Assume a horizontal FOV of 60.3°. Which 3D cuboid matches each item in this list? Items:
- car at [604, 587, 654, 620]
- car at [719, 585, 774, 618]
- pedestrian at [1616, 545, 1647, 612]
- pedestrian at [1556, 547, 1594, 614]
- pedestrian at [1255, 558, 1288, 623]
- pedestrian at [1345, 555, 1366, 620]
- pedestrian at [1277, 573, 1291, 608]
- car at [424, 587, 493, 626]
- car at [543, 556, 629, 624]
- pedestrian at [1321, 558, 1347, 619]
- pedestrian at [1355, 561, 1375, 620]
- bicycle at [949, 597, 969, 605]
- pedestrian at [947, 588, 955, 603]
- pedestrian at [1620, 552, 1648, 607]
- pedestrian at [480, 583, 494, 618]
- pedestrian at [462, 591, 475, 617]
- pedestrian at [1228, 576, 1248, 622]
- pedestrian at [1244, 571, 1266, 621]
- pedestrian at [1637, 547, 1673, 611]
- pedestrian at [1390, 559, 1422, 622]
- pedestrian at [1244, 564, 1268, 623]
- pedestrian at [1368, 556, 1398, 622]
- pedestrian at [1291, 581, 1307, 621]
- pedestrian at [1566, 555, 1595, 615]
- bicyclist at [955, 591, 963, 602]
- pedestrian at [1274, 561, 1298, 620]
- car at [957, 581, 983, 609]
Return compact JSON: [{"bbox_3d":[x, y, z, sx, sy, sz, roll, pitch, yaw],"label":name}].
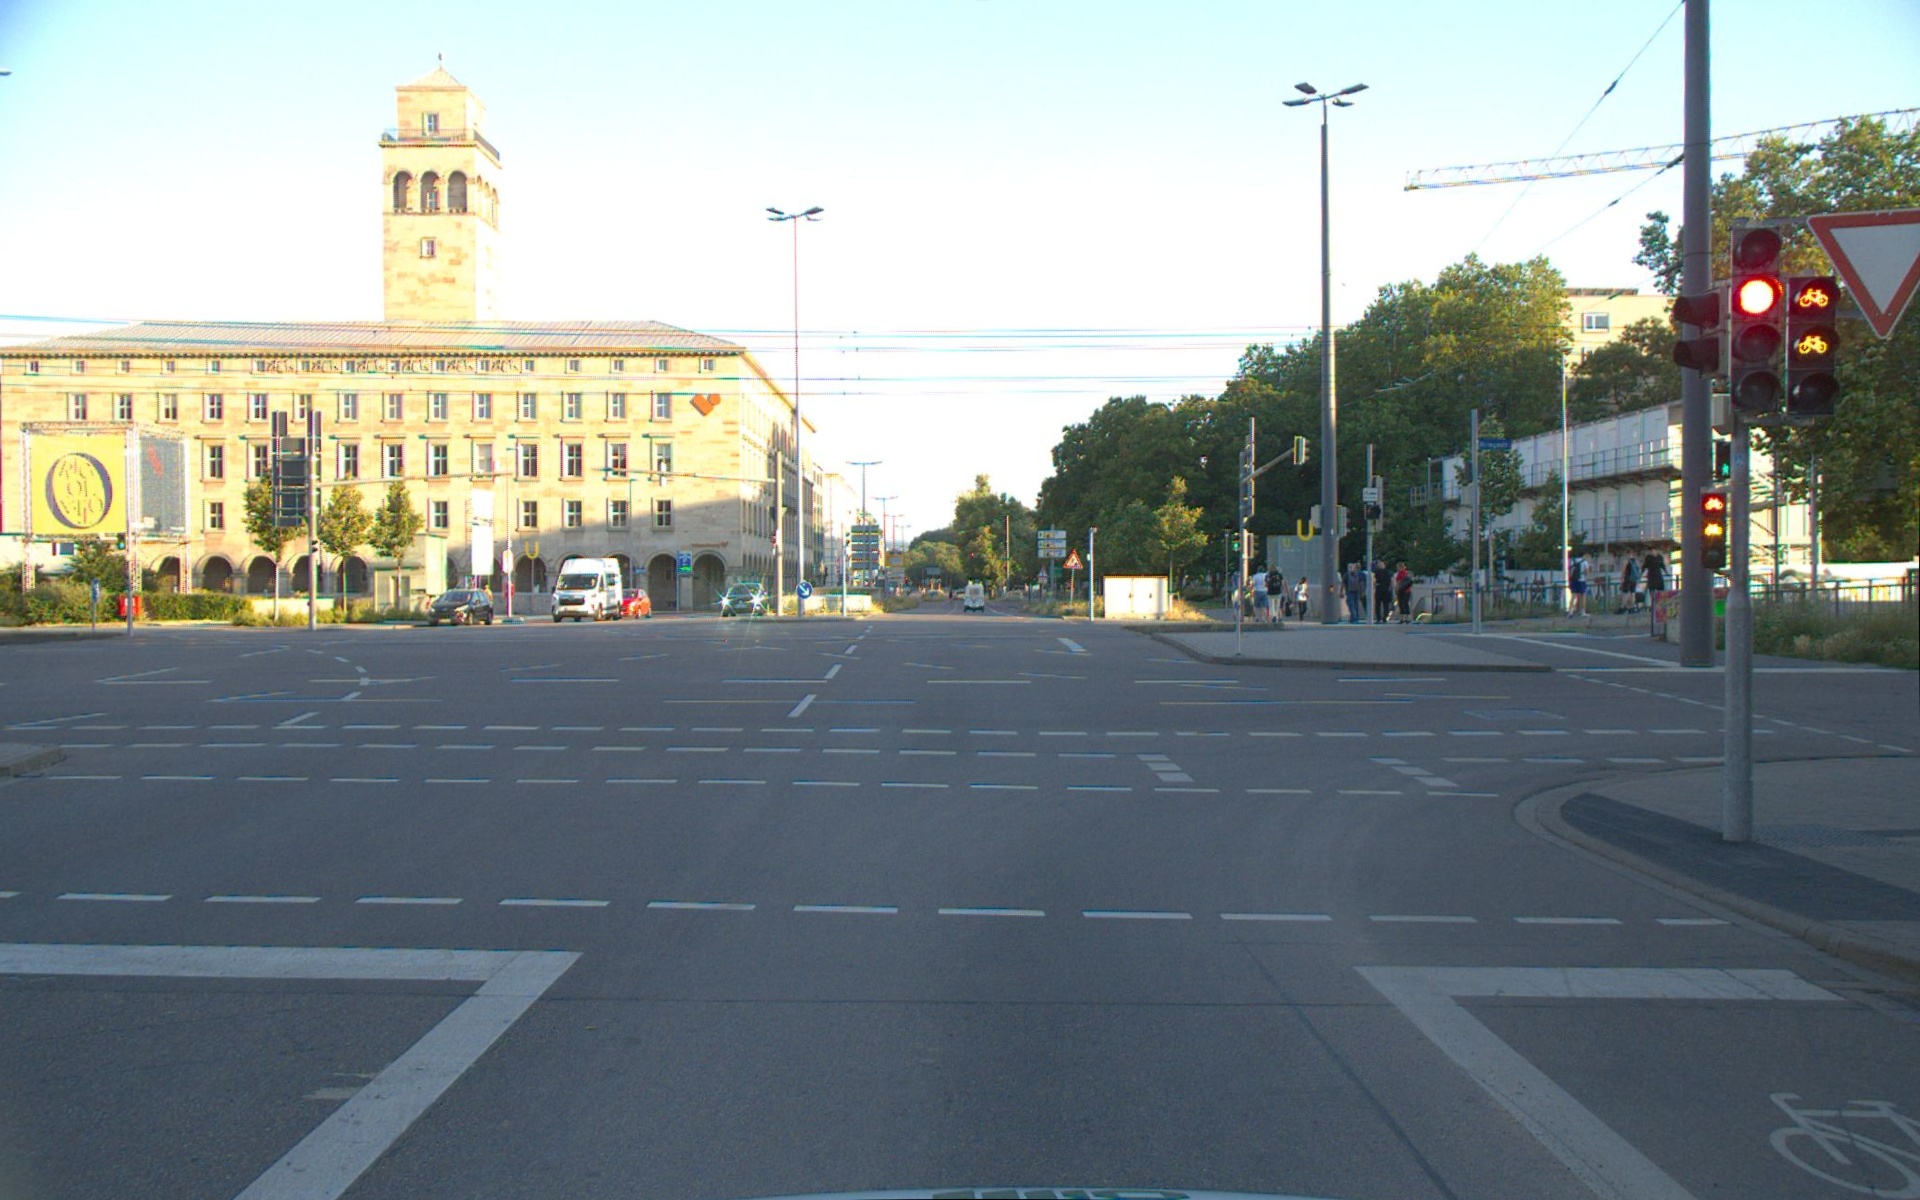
[{"bbox_3d":[-16.136,0.144,80.849,1.703,1.513,4.000,-1,1,-1],"label":"car"},{"bbox_3d":[-9.334,0.047,72.514,1.785,1.365,4.001,0,1,1],"label":"car"},{"bbox_3d":[17.703,-0.565,43.616,0.696,1.755,0.669,0,1,16],"label":"pedestrian"},{"bbox_3d":[16.187,-0.512,43.517,0.661,1.755,0.704,-1,1,-36],"label":"pedestrian"},{"bbox_3d":[8.548,-0.266,45.357,0.696,1.755,0.914,0,1,24],"label":"pedestrian"},{"bbox_3d":[11.184,-0.355,46.753,0.560,1.822,0.639,0,1,13],"label":"pedestrian"},{"bbox_3d":[17.094,-0.509,87.267,0.652,1.874,0.713,0,1,4],"label":"pedestrian"},{"bbox_3d":[-21.157,0.252,69.905,1.786,1.491,4.156,-1,1,-2],"label":"car"},{"bbox_3d":[-16.246,-0.473,72.232,2.232,2.824,6.085,-1,1,1],"label":"car"},{"bbox_3d":[10.768,-0.335,47.631,0.695,1.755,0.916,0,1,12],"label":"pedestrian"},{"bbox_3d":[11.775,-0.283,48.135,0.560,1.708,0.639,0,1,13],"label":"pedestrian"},{"bbox_3d":[-0.144,0.141,222.942,2.559,0.975,0.512,1,-1,-16],"label":"bicycle"},{"bbox_3d":[-1.006,-0.530,194.431,0.888,1.700,1.306,-1,1,-2],"label":"pedestrian"},{"bbox_3d":[18.077,-0.547,44.382,0.662,1.466,0.714,0,1,21],"label":"pedestrian"},{"bbox_3d":[-24.312,0.015,84.978,0.609,1.774,0.459,1,-1,-6],"label":"pedestrian"},{"bbox_3d":[-25.041,0.208,84.318,0.496,1.323,0.700,1,-1,-6],"label":"pedestrian"},{"bbox_3d":[10.233,-0.032,60.848,0.548,1.683,0.902,0,1,20],"label":"pedestrian"},{"bbox_3d":[10.819,-0.154,60.619,0.665,1.788,0.902,0,1,20],"label":"pedestrian"},{"bbox_3d":[19.128,-0.574,45.555,0.696,1.755,0.668,0,1,-1],"label":"pedestrian"},{"bbox_3d":[12.585,-0.264,46.670,0.826,1.764,0.706,0,1,11],"label":"pedestrian"},{"bbox_3d":[8.987,-0.197,50.196,0.695,1.755,0.669,0,1,13],"label":"pedestrian"},{"bbox_3d":[11.859,-0.306,46.420,0.788,1.822,0.801,0,1,13],"label":"pedestrian"},{"bbox_3d":[12.537,0.017,61.109,0.560,1.463,0.639,0,1,11],"label":"pedestrian"},{"bbox_3d":[16.871,-0.406,44.967,0.559,1.620,0.536,-1,0,-1],"label":"pedestrian"},{"bbox_3d":[-0.141,-0.432,222.962,0.817,1.489,0.658,-1,1,-16],"label":"bicyclist"},{"bbox_3d":[9.877,-0.292,50.114,0.695,1.755,0.669,0,1,13],"label":"pedestrian"},{"bbox_3d":[0.671,-0.342,107.864,1.454,1.725,2.971,-1,1,-4],"label":"car"}]
